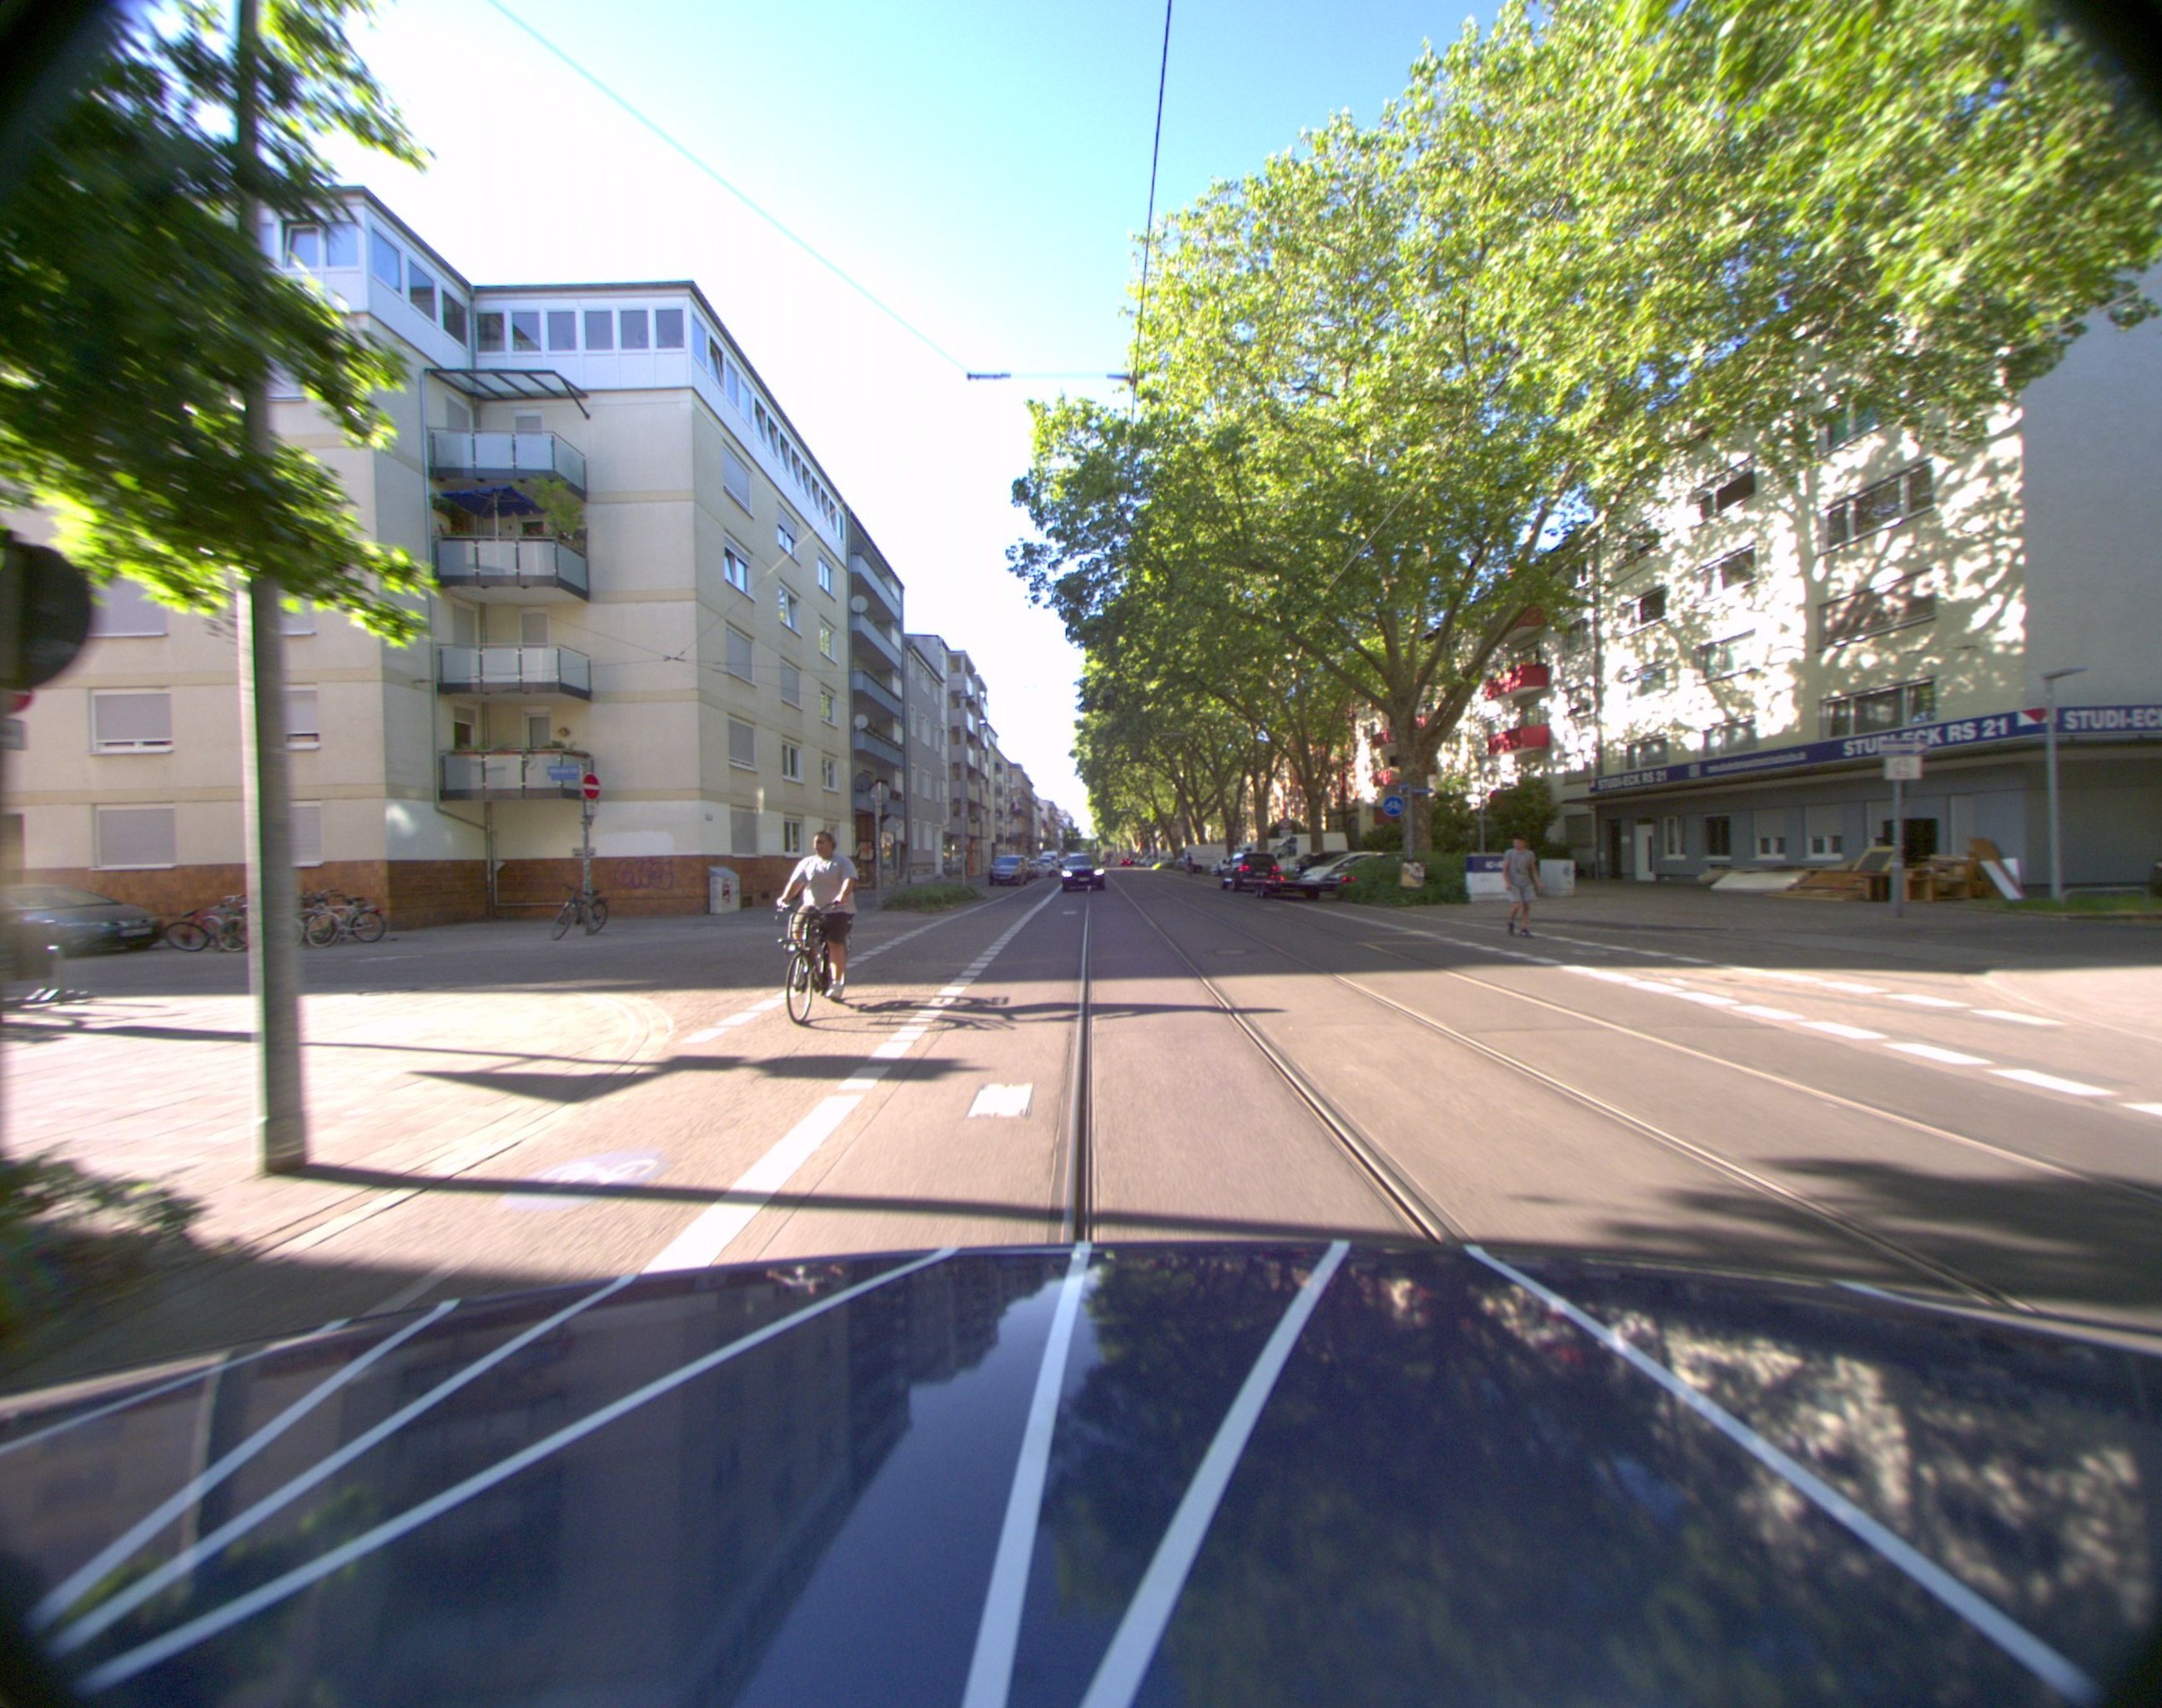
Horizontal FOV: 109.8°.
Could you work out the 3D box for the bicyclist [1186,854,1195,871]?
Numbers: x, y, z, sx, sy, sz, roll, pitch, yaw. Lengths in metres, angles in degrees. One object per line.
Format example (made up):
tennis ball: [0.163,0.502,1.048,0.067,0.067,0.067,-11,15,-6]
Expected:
bicyclist: [7.887,0.587,54.737,0.533,1.206,0.666,-2,1,1]

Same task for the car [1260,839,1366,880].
car: [12.627,0.286,41.562,5.134,1.984,1.999,-2,1,-4]

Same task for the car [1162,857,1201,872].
car: [11.258,1.180,85.411,3.997,1.458,2.000,-2,1,-1]

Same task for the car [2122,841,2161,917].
car: [23.329,0.456,14.587,4.152,1.469,1.834,-2,2,0]

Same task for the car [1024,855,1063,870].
car: [-3.962,0.866,80.366,3.997,1.458,2.000,-2,1,-1]

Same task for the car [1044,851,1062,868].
car: [-3.541,0.631,97.698,1.991,2.085,4.470,-2,0,1]

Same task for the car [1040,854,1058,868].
car: [-3.695,0.827,88.252,1.867,1.499,4.000,-2,0,1]

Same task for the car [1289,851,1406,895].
car: [10.617,0.730,30.505,3.997,1.600,1.908,-2,1,-1]

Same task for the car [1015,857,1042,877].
car: [-4.339,1.061,63.606,1.867,1.499,4.000,-2,0,1]

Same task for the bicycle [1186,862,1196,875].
bicycle: [7.902,1.027,54.723,0.533,0.900,1.557,-2,1,1]

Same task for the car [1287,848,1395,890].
car: [11.282,0.622,33.170,3.997,1.635,2.000,-2,1,-1]

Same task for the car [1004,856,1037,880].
car: [-4.475,1.031,56.988,1.998,1.674,4.000,-2,0,1]

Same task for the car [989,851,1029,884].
car: [-4.452,0.824,47.640,1.958,1.914,4.000,-2,0,1]

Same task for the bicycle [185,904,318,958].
bicycle: [-16.001,1.479,14.679,2.109,0.925,0.499,-2,1,4]

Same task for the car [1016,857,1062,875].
car: [-3.807,1.042,69.103,3.997,1.458,2.000,-2,1,-1]

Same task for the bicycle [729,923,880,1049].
bicycle: [-2.760,1.284,7.846,0.790,0.932,1.939,-2,0,1]

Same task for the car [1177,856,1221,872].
car: [11.656,0.978,75.241,3.997,1.458,2.000,-2,1,-1]

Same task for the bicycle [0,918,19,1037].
bicycle: [-12.037,1.296,7.992,2.069,1.200,0.482,-2,1,22]

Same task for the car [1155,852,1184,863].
car: [13.204,0.543,113.762,3.997,1.458,2.000,-2,1,-1]

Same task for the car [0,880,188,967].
car: [-20.635,1.354,14.933,3.997,1.499,1.725,-2,1,-1]

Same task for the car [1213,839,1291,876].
car: [11.231,0.223,50.227,4.661,2.292,2.000,-2,1,1]

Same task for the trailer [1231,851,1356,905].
trailer: [7.296,0.753,27.068,2.453,1.622,6.583,1,0,-1]

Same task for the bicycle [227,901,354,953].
bicycle: [-15.887,1.465,15.278,2.109,0.925,0.499,-2,1,4]

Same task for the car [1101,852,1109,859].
car: [5.999,0.408,189.525,1.998,1.723,4.399,-2,0,1]

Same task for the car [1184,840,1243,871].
car: [11.253,0.123,64.875,4.661,2.518,2.000,-2,1,1]

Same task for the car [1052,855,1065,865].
car: [-3.444,0.949,117.563,1.867,1.499,4.000,-2,0,1]

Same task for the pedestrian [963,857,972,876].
pedestrian: [-8.748,0.957,58.676,0.590,1.493,0.600,-2,1,1]

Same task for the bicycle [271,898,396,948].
bicycle: [-15.678,1.433,15.961,2.109,0.986,0.607,0,1,4]

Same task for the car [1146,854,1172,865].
car: [12.303,0.882,119.900,3.997,1.458,1.792,-2,1,-1]

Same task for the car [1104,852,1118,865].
car: [4.448,0.647,112.758,1.998,1.723,4.399,-2,0,1]

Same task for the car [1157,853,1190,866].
car: [12.027,0.710,98.939,3.997,1.458,2.000,-2,1,-1]

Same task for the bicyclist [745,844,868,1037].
bicyclist: [-2.775,0.826,7.815,0.769,1.821,1.099,-2,1,1]

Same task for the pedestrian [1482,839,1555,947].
pedestrian: [7.553,0.649,13.133,0.700,1.781,0.801,-2,1,-12]

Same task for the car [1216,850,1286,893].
car: [7.174,0.694,32.456,1.928,1.674,4.181,1,0,-1]

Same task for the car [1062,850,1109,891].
car: [0.221,0.719,36.349,1.998,1.723,4.399,-4,0,1]

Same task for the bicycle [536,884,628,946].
bicycle: [-10.728,1.280,16.424,0.616,1.144,1.995,-1,1,1]

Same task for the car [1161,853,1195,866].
car: [12.143,0.728,95.604,3.997,1.458,2.000,-2,1,-1]

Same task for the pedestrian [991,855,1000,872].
pedestrian: [-8.726,0.937,77.457,0.697,1.685,0.678,-2,1,0]

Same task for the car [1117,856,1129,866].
car: [7.541,1.234,136.118,1.998,1.723,4.399,-2,0,1]
